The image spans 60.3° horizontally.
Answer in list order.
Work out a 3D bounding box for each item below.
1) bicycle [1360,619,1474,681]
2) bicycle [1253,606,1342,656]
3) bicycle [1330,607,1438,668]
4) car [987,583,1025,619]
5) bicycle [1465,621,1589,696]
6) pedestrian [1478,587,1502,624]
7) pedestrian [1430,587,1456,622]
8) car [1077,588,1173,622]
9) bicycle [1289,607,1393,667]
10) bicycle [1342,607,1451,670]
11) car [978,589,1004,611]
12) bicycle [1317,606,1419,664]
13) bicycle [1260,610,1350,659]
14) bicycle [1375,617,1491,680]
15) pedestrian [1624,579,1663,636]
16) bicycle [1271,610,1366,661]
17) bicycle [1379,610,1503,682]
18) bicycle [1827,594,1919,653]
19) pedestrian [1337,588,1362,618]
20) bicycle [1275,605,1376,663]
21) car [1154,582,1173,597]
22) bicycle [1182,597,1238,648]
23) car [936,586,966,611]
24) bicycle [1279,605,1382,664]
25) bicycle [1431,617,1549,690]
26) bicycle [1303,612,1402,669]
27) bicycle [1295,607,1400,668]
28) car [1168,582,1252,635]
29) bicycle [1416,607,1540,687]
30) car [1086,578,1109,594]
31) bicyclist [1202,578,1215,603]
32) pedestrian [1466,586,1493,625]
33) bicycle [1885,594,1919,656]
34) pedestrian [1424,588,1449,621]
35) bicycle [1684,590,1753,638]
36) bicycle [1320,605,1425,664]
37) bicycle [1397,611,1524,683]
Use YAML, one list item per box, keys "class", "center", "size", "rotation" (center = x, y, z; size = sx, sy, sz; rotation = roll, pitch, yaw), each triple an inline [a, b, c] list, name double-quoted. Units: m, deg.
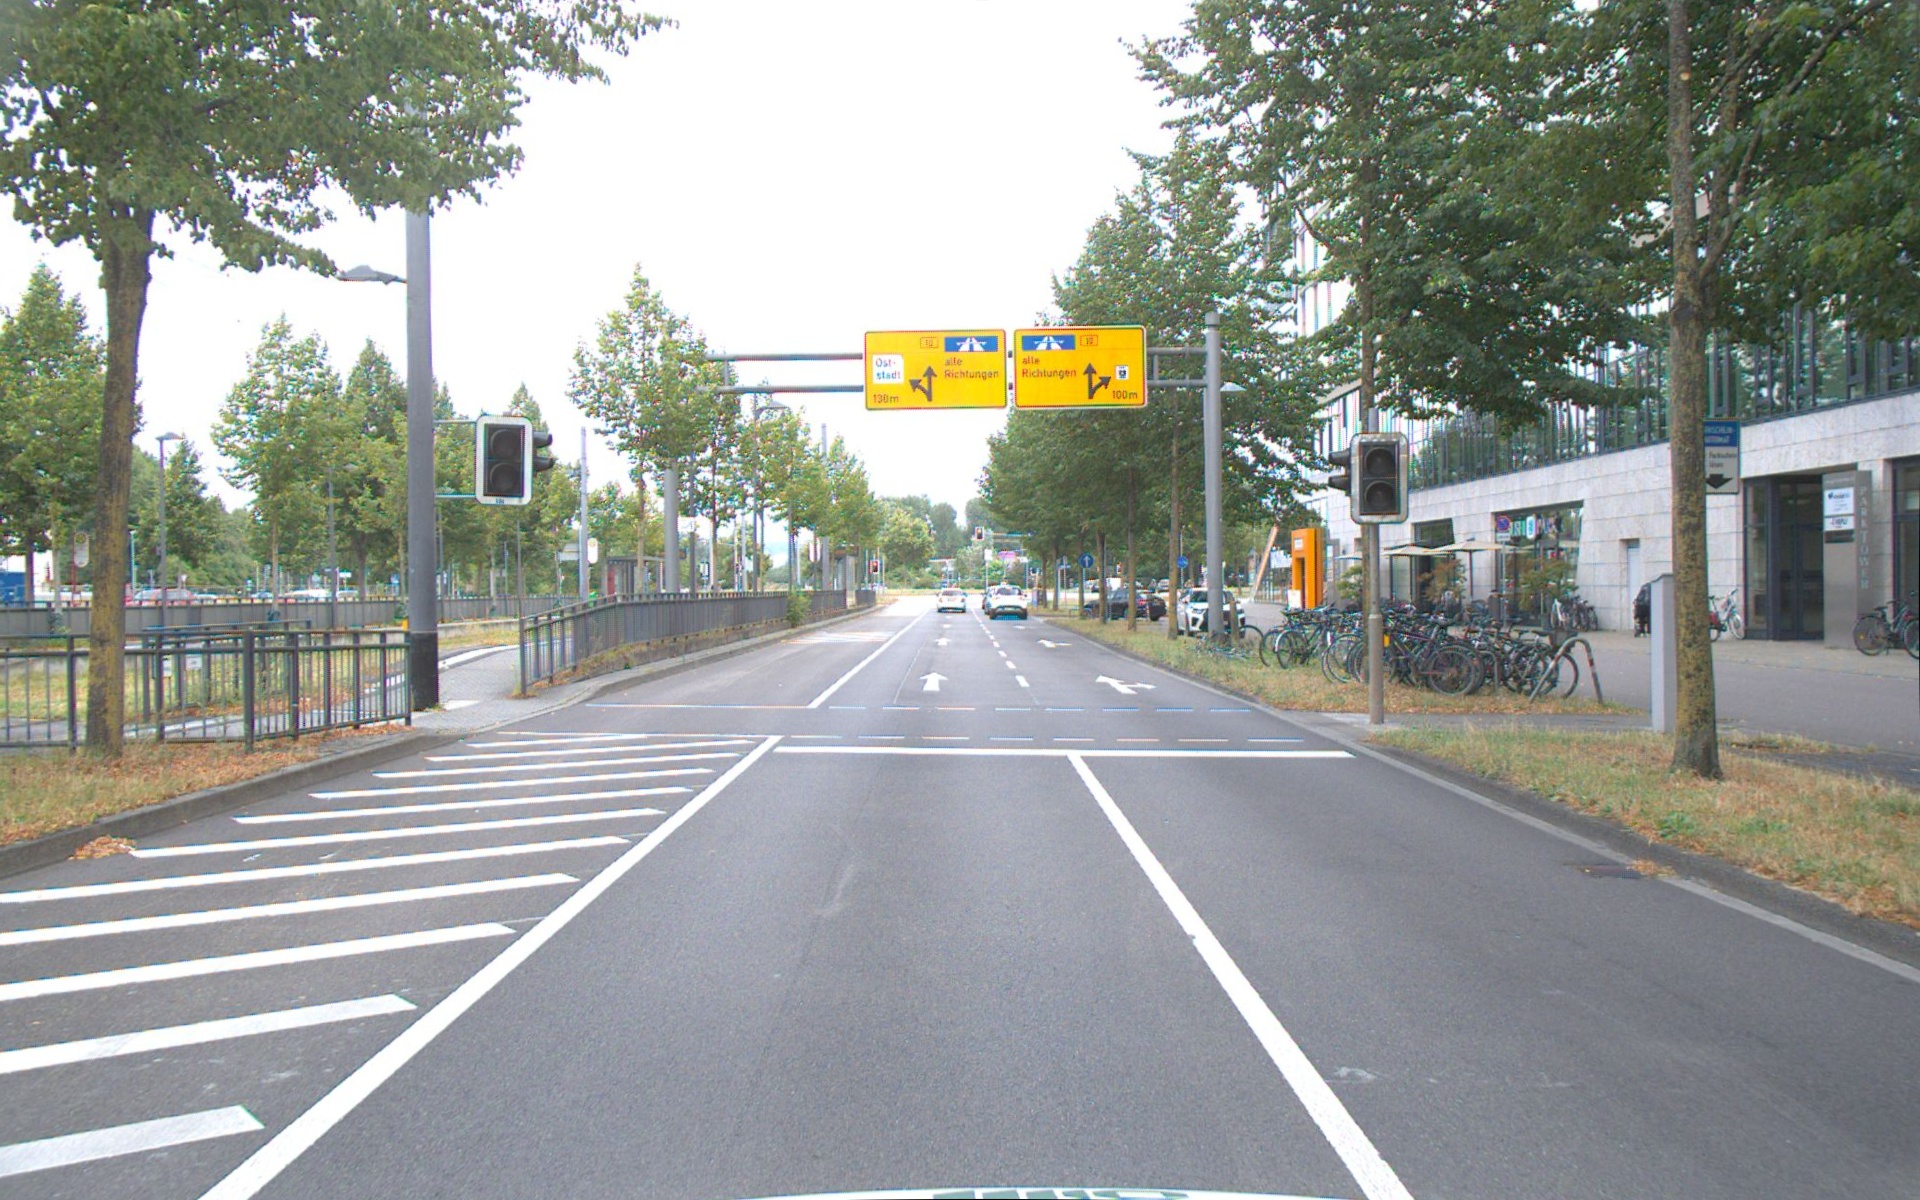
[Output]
- class: "bicycle"
  center: [7.495, 0.818, 27.138]
  size: [1.683, 0.921, 0.587]
  rotation: [3, 0, -9]
- class: "bicycle"
  center: [7.539, 0.683, 36.954]
  size: [1.824, 1.012, 0.574]
  rotation: [3, 0, -4]
- class: "bicycle"
  center: [7.455, 0.653, 29.081]
  size: [1.711, 0.991, 0.608]
  rotation: [3, 0, -9]
- class: "car"
  center: [2.262, 0.027, 82.063]
  size: [1.742, 1.685, 4.023]
  rotation: [-1, 0, 0]
- class: "bicycle"
  center: [7.796, 0.800, 22.770]
  size: [1.498, 0.970, 0.552]
  rotation: [2, 0, -4]
- class: "pedestrian"
  center: [17.307, 0.177, 53.985]
  size: [0.704, 1.213, 0.759]
  rotation: [-1, 0, 22]
- class: "pedestrian"
  center: [17.436, 0.160, 59.699]
  size: [0.704, 1.213, 0.759]
  rotation: [-1, 0, 1]
- class: "car"
  center: [7.799, 0.234, 78.759]
  size: [1.925, 1.501, 4.811]
  rotation: [-1, 0, -35]
- class: "bicycle"
  center: [7.507, 0.727, 32.615]
  size: [1.894, 1.083, 0.543]
  rotation: [2, 0, -9]
- class: "bicycle"
  center: [7.494, 0.655, 28.432]
  size: [1.683, 0.991, 0.608]
  rotation: [2, 0, -9]
- class: "car"
  center: [2.080, -0.018, 112.423]
  size: [1.592, 1.474, 3.909]
  rotation: [1, 0, -2]
- class: "bicycle"
  center: [7.578, 0.647, 30.769]
  size: [1.711, 0.991, 0.608]
  rotation: [3, 0, -9]
- class: "bicycle"
  center: [7.565, 0.755, 36.288]
  size: [1.824, 0.968, 0.501]
  rotation: [3, 0, -4]
- class: "bicycle"
  center: [7.581, 0.768, 26.525]
  size: [1.683, 0.921, 0.587]
  rotation: [3, 0, -9]
- class: "pedestrian"
  center: [17.262, 0.187, 41.798]
  size: [0.740, 1.431, 0.721]
  rotation: [-1, 0, 7]
- class: "bicycle"
  center: [7.534, 0.741, 34.798]
  size: [1.824, 0.968, 0.612]
  rotation: [3, 0, -4]
- class: "bicycle"
  center: [7.497, 0.713, 25.796]
  size: [1.739, 1.030, 0.609]
  rotation: [2, 0, -9]
- class: "bicycle"
  center: [16.926, 0.428, 30.532]
  size: [1.566, 1.044, 0.533]
  rotation: [-2, 0, -4]
- class: "pedestrian"
  center: [16.329, 0.127, 69.347]
  size: [0.879, 1.250, 0.951]
  rotation: [-1, 0, 4]
- class: "bicycle"
  center: [7.527, 0.698, 34.105]
  size: [1.891, 1.083, 0.704]
  rotation: [3, 0, -4]
- class: "car"
  center: [22.188, -1.164, 180.310]
  size: [1.745, 1.664, 4.406]
  rotation: [-1, 0, 10]
- class: "bicycle"
  center: [5.979, 0.528, 39.684]
  size: [0.696, 1.135, 2.199]
  rotation: [2, 0, -8]
- class: "car"
  center: [-0.589, -0.092, 101.324]
  size: [1.738, 1.474, 3.909]
  rotation: [-1, 0, -2]
- class: "bicycle"
  center: [7.459, 0.694, 33.345]
  size: [1.891, 1.083, 0.641]
  rotation: [3, 0, -4]
- class: "bicycle"
  center: [7.537, 0.758, 23.538]
  size: [1.498, 0.970, 0.484]
  rotation: [2, 0, -4]
- class: "bicycle"
  center: [7.446, 0.770, 31.388]
  size: [1.711, 0.991, 0.608]
  rotation: [3, 0, -9]
- class: "bicycle"
  center: [7.499, 0.727, 32.035]
  size: [1.894, 1.083, 0.543]
  rotation: [2, 0, -9]
- class: "car"
  center: [7.915, 0.237, 52.753]
  size: [1.899, 1.579, 4.593]
  rotation: [-1, 1, -1]
- class: "bicycle"
  center: [7.590, 0.690, 24.275]
  size: [1.635, 1.109, 0.525]
  rotation: [2, 0, -4]
- class: "car"
  center: [15.426, -1.565, 185.983]
  size: [1.954, 1.822, 3.997]
  rotation: [2, 0, -3]
- class: "bicyclist"
  center: [16.609, -0.641, 110.492]
  size: [0.709, 1.610, 0.990]
  rotation: [-1, 0, 0]
- class: "pedestrian"
  center: [16.574, 0.181, 52.819]
  size: [0.756, 1.213, 1.107]
  rotation: [-1, 0, 15]
- class: "bicycle"
  center: [16.968, 0.412, 28.688]
  size: [1.566, 1.044, 0.533]
  rotation: [-2, 0, -4]
- class: "pedestrian"
  center: [17.443, 0.162, 60.550]
  size: [0.704, 1.213, 0.759]
  rotation: [-1, 0, -1]
- class: "bicycle"
  center: [17.378, 0.323, 37.893]
  size: [1.579, 1.044, 0.605]
  rotation: [-2, 0, -28]
- class: "bicycle"
  center: [7.452, 0.619, 29.921]
  size: [1.711, 0.991, 0.608]
  rotation: [3, 0, -9]
- class: "bicycle"
  center: [7.592, 0.704, 25.105]
  size: [1.739, 1.030, 0.609]
  rotation: [2, 0, -9]
